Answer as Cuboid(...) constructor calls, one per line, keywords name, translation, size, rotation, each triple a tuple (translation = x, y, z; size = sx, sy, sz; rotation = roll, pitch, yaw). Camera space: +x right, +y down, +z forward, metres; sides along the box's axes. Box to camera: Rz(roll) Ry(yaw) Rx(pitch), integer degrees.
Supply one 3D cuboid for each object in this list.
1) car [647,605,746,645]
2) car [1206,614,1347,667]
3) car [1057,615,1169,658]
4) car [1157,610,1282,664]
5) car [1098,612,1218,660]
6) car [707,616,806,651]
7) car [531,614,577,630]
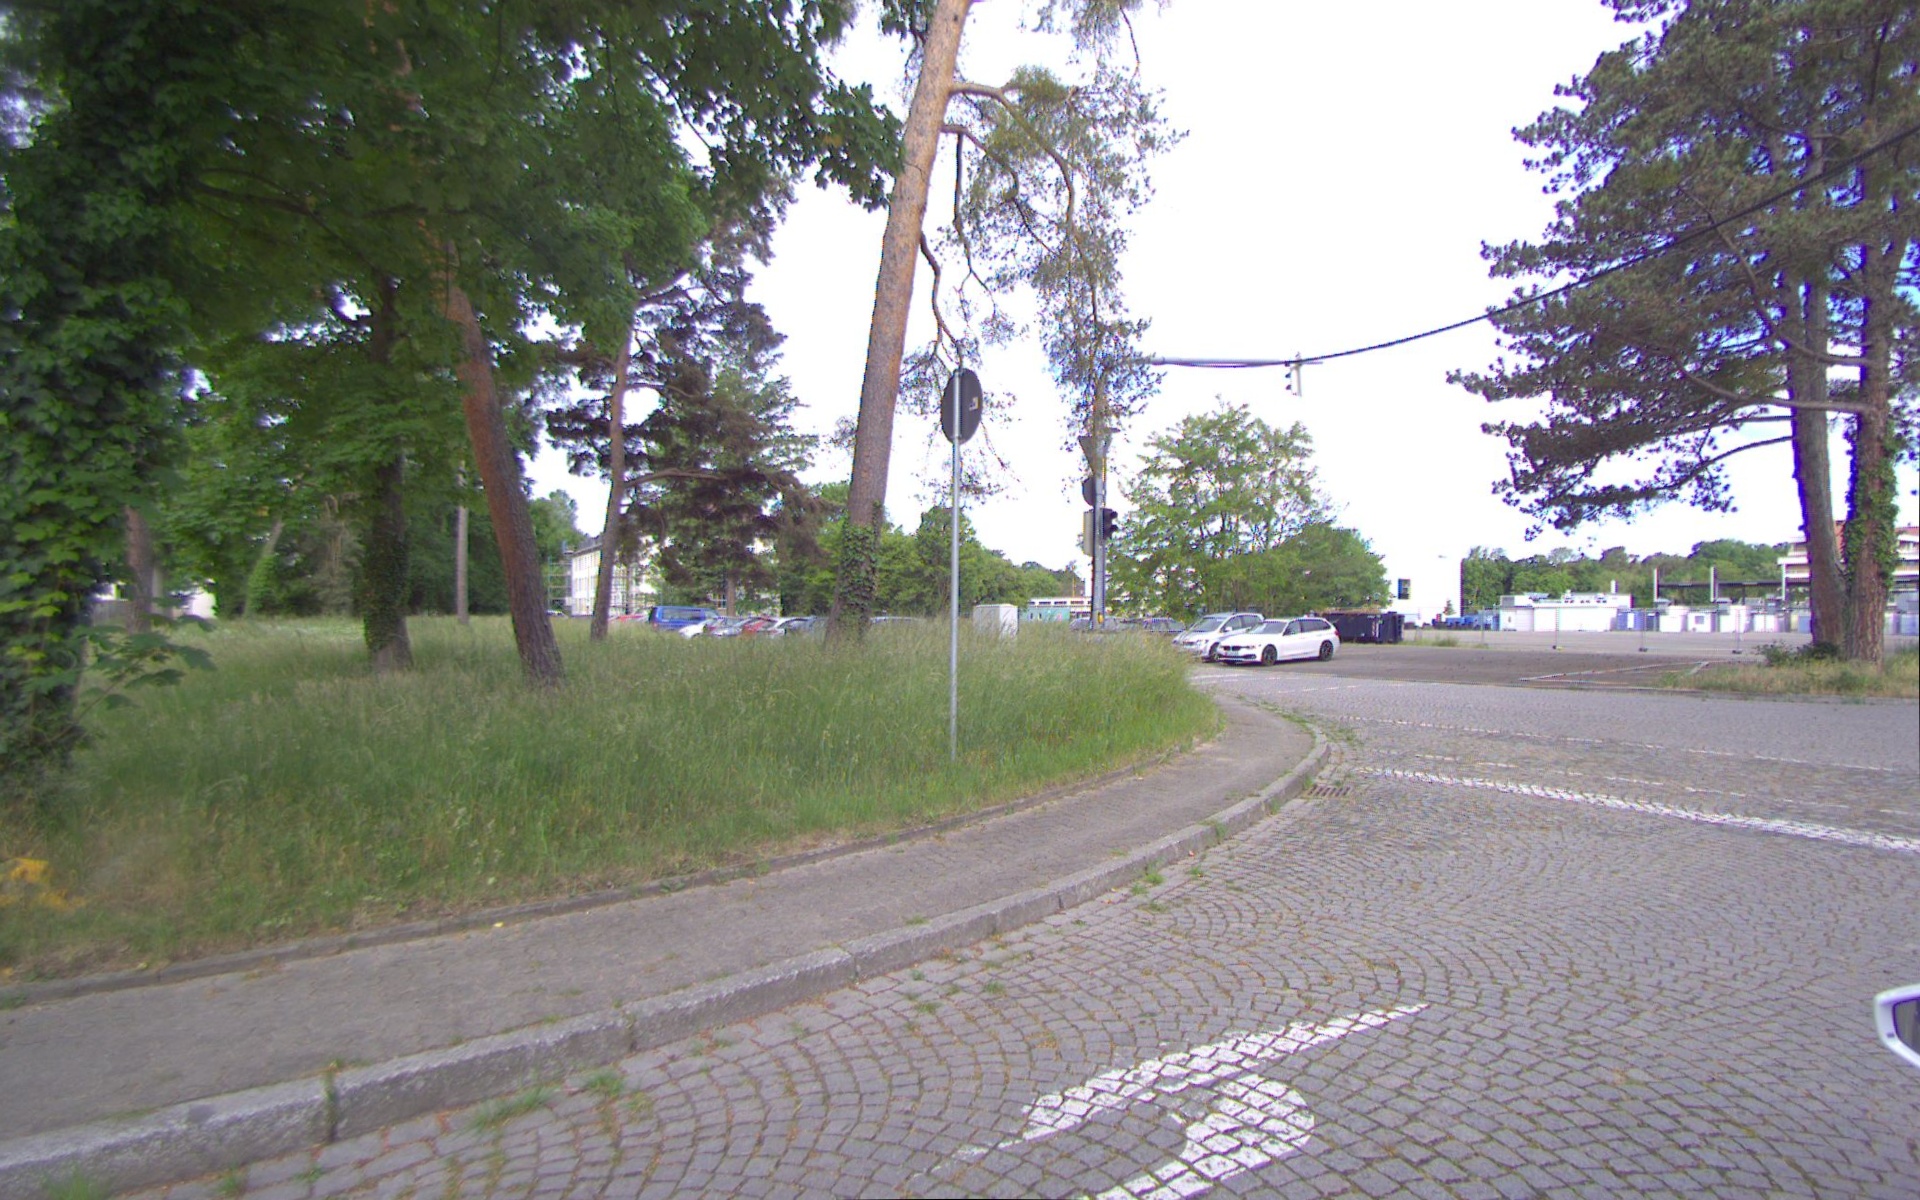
Cuboid(name="car", translation=(-14.028, 1.314, 53.541), size=(4.737, 2.007, 1.982), rotation=(0, 0, -30))
Cuboid(name="car", translation=(10.304, 1.258, 32.560), size=(4.689, 1.461, 1.799), rotation=(-2, 1, -33))
Cuboid(name="car", translation=(5.993, 1.379, 39.196), size=(4.281, 1.587, 1.782), rotation=(1, -1, -34))
Cuboid(name="car", translation=(8.992, 1.232, 34.674), size=(4.280, 1.605, 1.810), rotation=(-2, 1, -34))
Cuboid(name="car", translation=(7.303, 1.278, 36.862), size=(4.280, 1.522, 1.843), rotation=(-2, 1, -34))
Cuboid(name="car", translation=(-8.880, 1.435, 43.891), size=(3.952, 1.457, 1.678), rotation=(1, -1, -30))
Cuboid(name="car", translation=(-50.799, 2.739, 125.838), size=(5.104, 2.040, 1.983), rotation=(1, -1, -31))
